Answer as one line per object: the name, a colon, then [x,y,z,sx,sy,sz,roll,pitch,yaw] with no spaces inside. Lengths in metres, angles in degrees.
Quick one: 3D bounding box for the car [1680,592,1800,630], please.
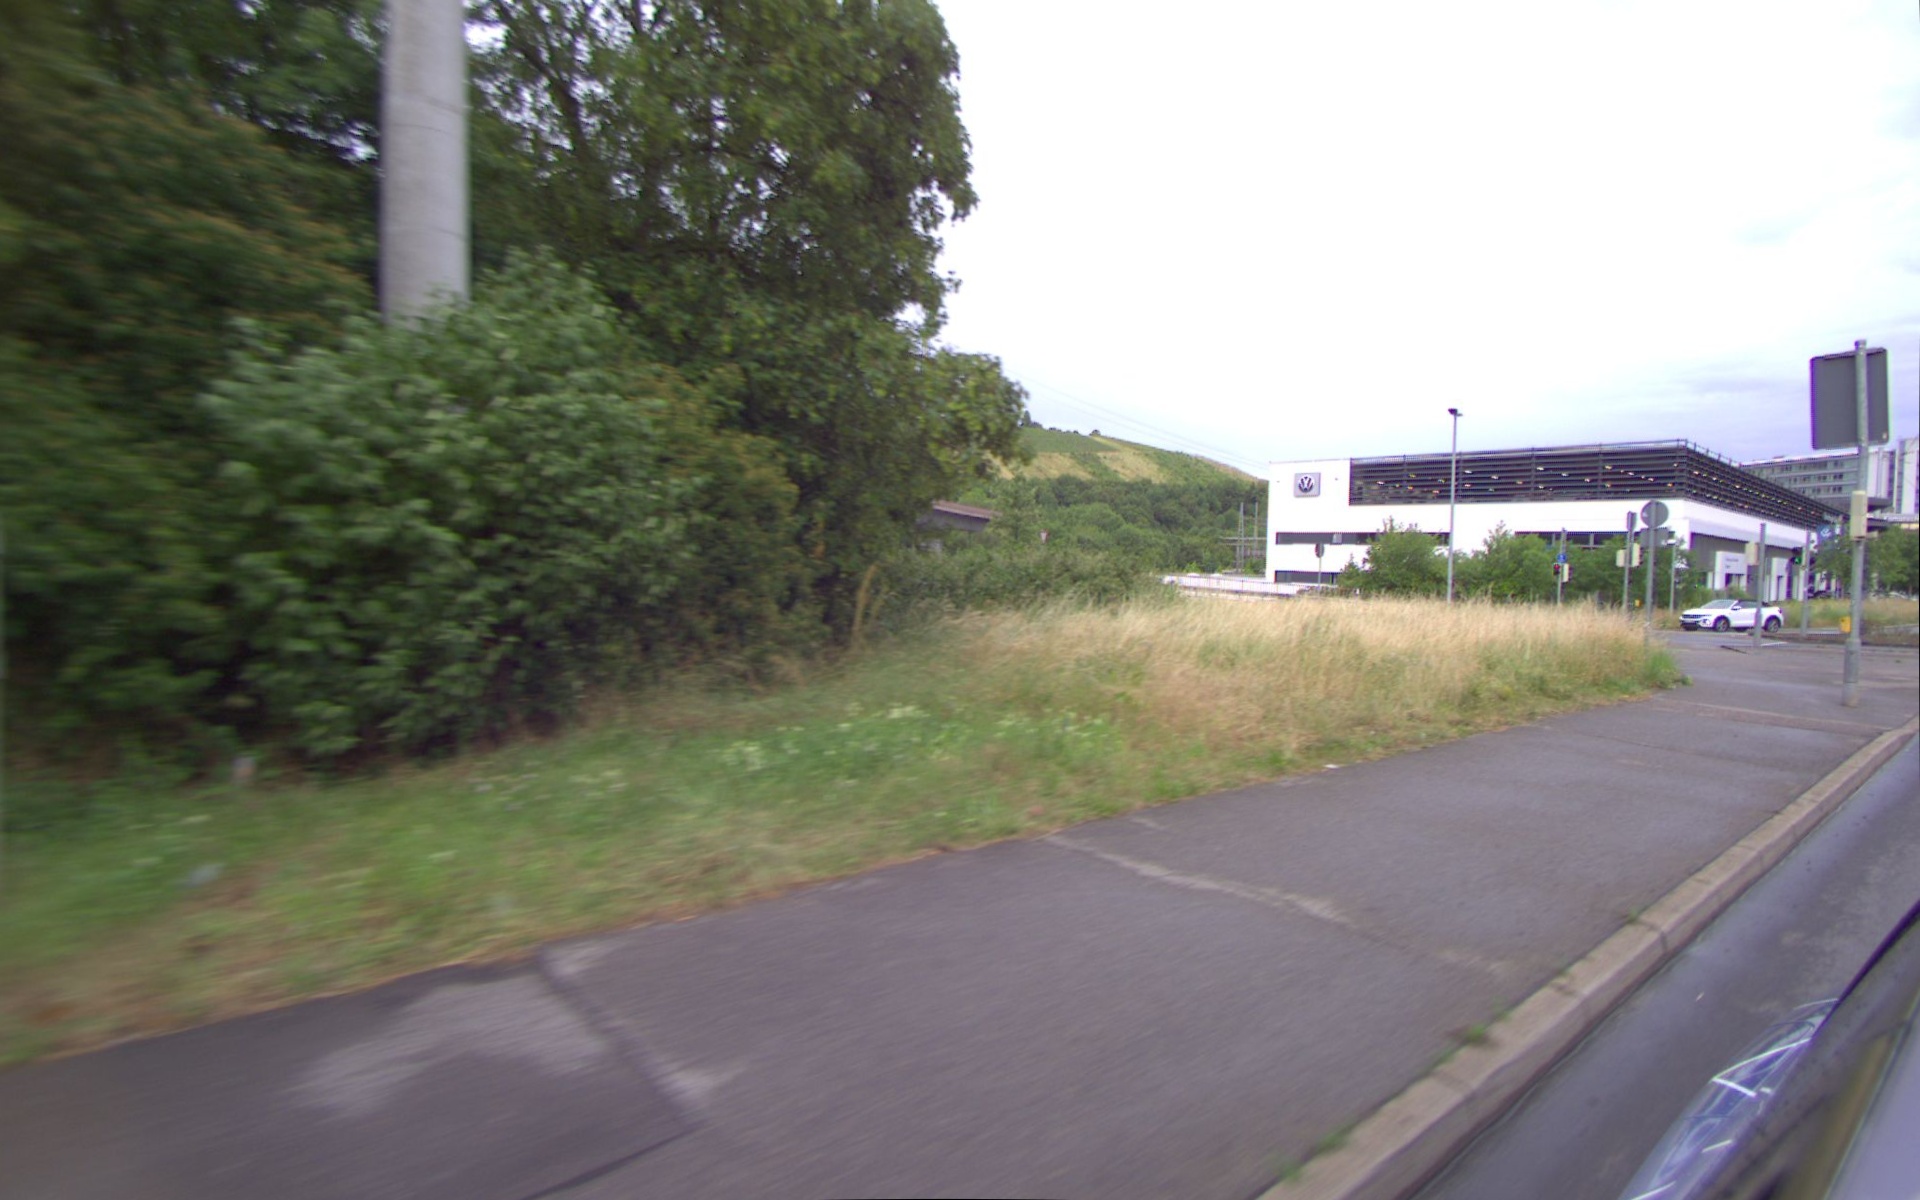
car: [35.235,0.481,45.766,4.025,1.559,2.045,1,1,-8]
